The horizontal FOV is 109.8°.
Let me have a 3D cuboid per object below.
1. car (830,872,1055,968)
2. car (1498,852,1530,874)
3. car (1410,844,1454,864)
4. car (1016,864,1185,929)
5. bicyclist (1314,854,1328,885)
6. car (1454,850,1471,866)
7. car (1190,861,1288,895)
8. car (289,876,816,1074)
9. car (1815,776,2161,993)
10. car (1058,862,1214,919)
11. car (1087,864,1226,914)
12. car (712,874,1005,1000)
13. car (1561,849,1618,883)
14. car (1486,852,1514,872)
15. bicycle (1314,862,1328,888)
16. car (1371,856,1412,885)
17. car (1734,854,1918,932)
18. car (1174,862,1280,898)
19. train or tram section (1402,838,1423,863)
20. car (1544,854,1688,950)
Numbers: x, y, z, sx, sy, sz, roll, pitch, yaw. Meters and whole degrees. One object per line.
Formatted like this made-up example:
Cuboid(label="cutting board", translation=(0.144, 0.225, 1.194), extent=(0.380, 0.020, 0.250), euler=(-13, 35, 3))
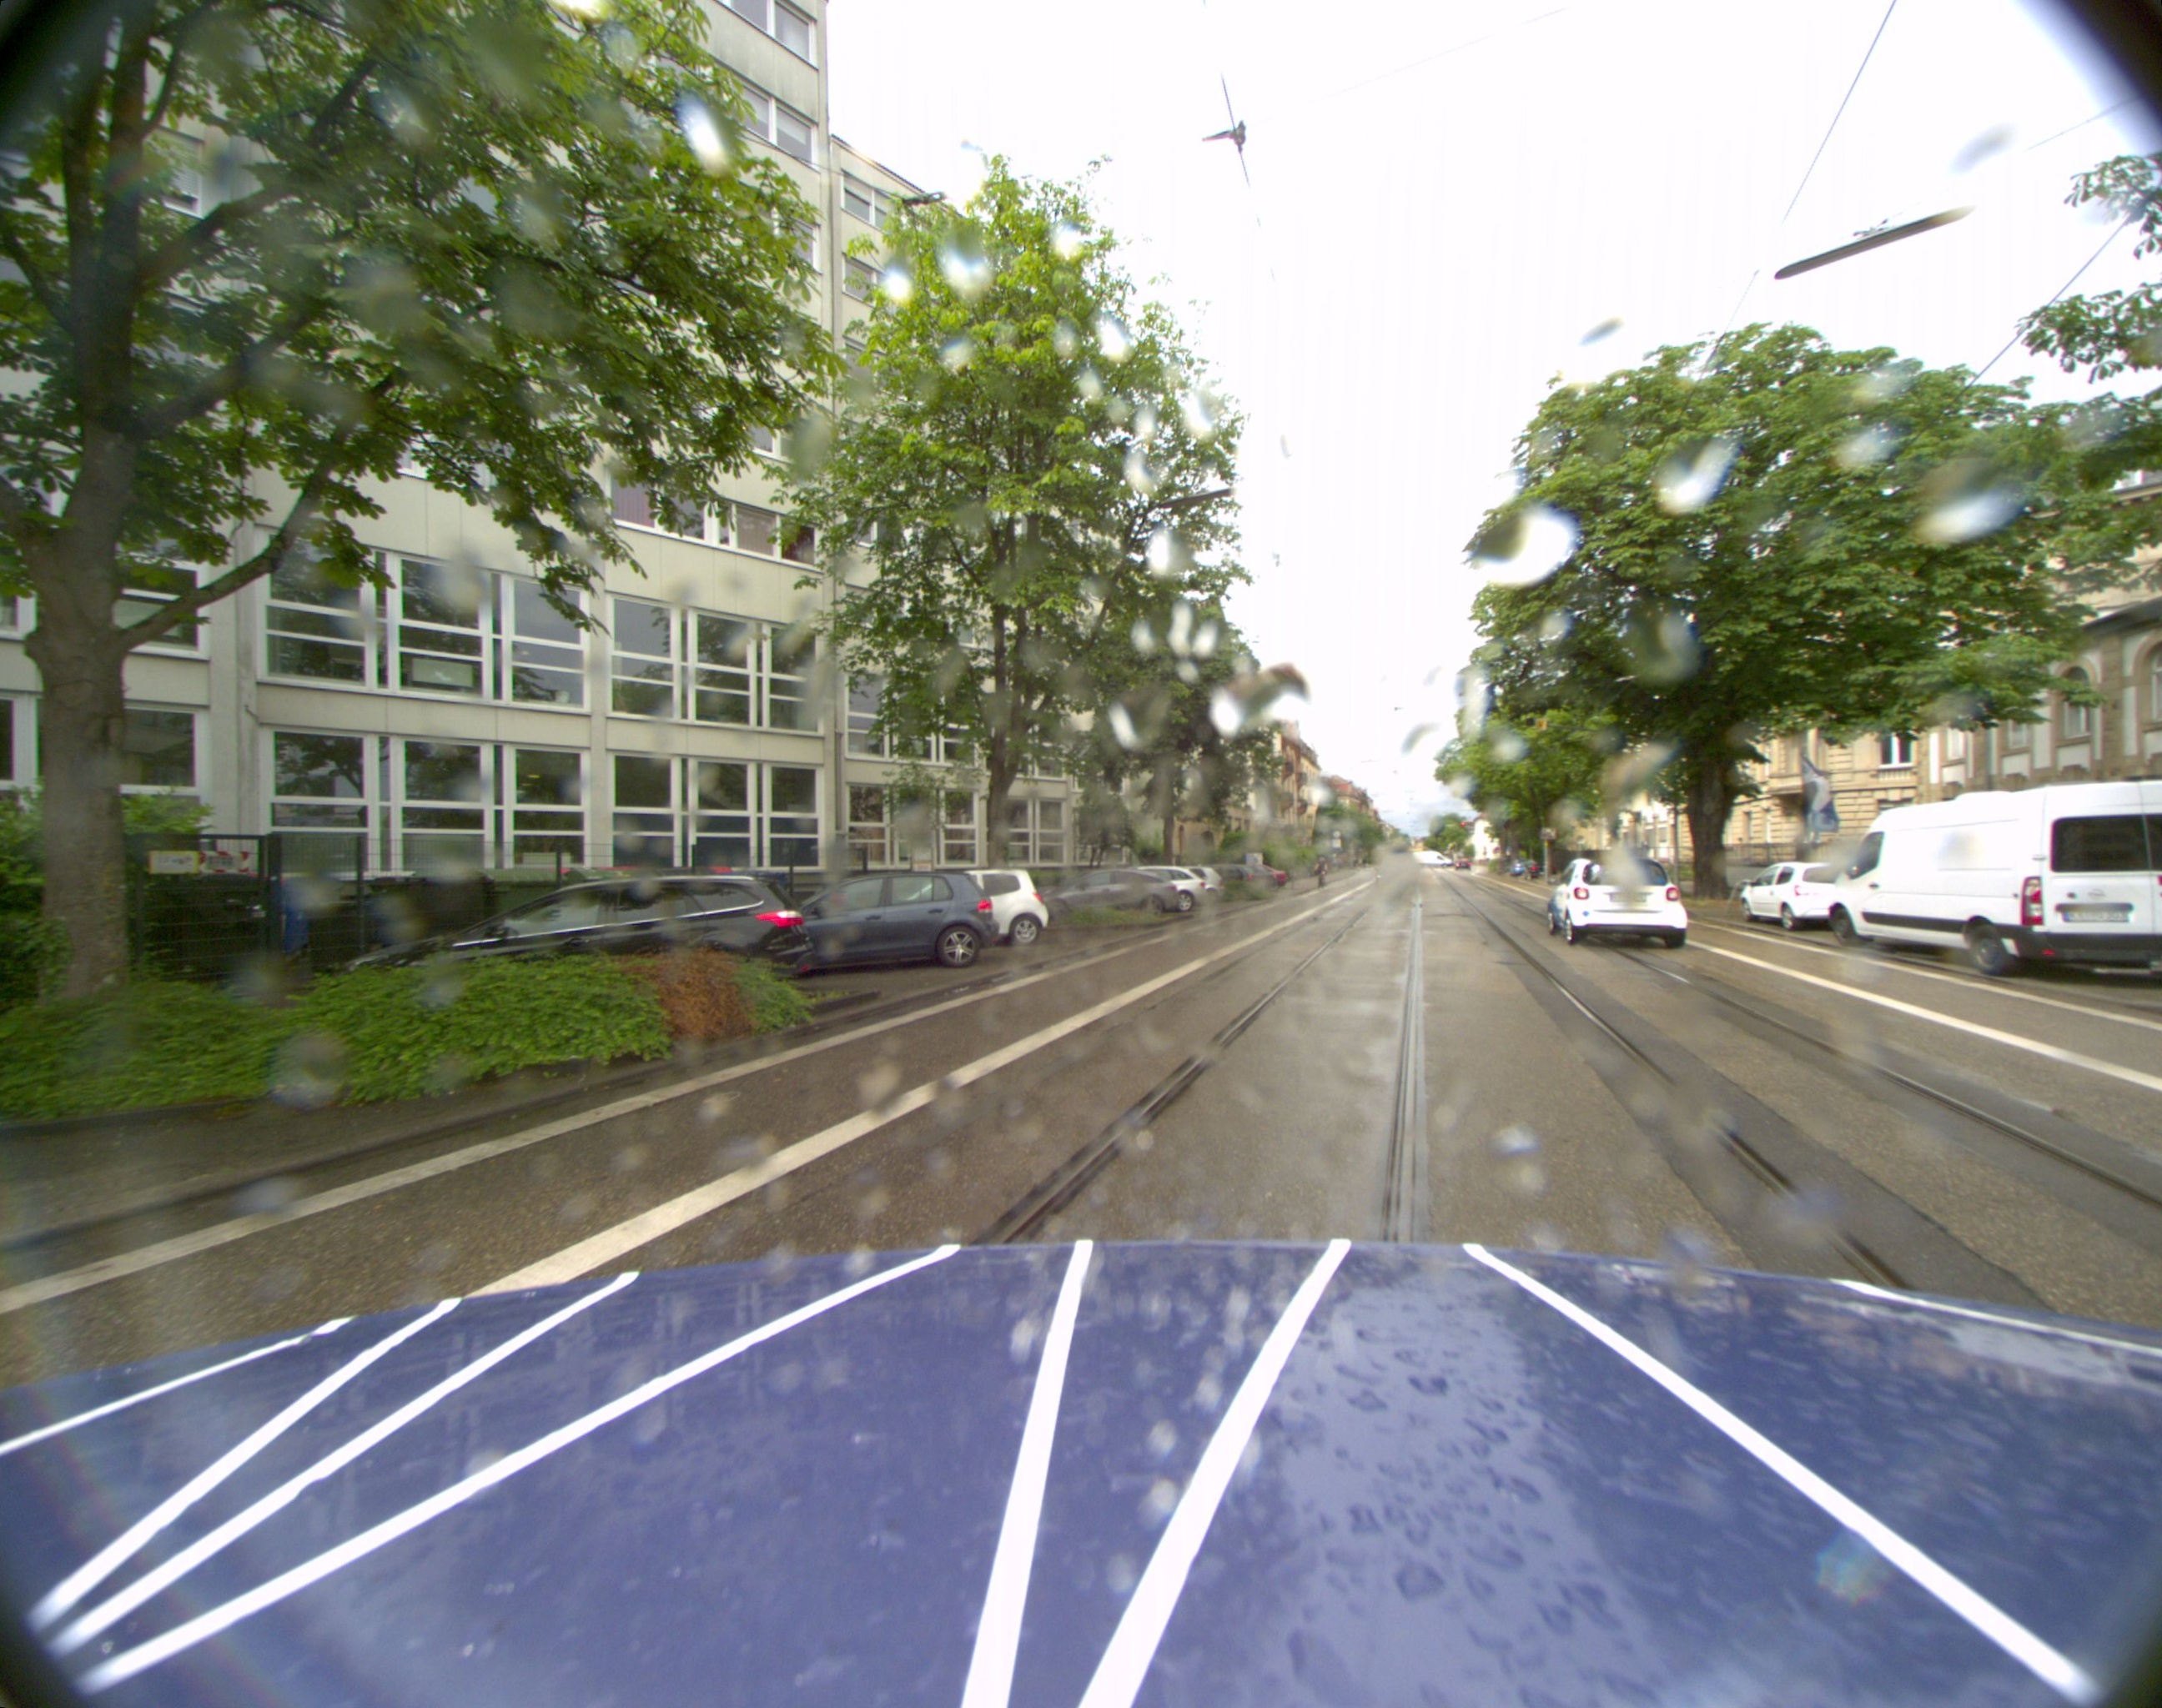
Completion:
Cuboid(label="car", translation=(-2.653, 1.164, 14.450), extent=(3.885, 1.445, 1.775), euler=(-3, 0, -21))
Cuboid(label="car", translation=(35.754, 0.712, 62.819), extent=(1.754, 1.666, 4.124), euler=(-2, 0, 23))
Cuboid(label="car", translation=(53.798, 0.026, 116.416), extent=(5.708, 2.814, 2.760), euler=(-2, 0, 30))
Cuboid(label="car", translation=(0.521, 1.097, 20.761), extent=(4.210, 1.444, 1.811), euler=(-3, 0, -20))
Cuboid(label="bicyclist", translation=(12.802, 0.820, 40.493), extent=(0.644, 1.608, 0.675), euler=(-2, 1, 19))
Cuboid(label="car", translation=(49.642, 0.501, 98.821), extent=(1.843, 1.875, 3.931), euler=(-2, 0, 29))
Cuboid(label="car", translation=(8.010, 1.198, 38.631), extent=(4.442, 1.444, 1.904), euler=(-3, 0, -13))
Cuboid(label="car", translation=(-5.354, 1.137, 8.475), extent=(4.375, 1.545, 1.875), euler=(-3, -1, -22))
Cuboid(label="car", translation=(13.521, 0.357, 11.175), extent=(2.135, 2.495, 5.282), euler=(-3, -1, 24))
Cuboid(label="car", translation=(1.705, 1.087, 23.691), extent=(4.398, 1.444, 1.882), euler=(-3, 0, -20))
Cuboid(label="car", translation=(2.623, 1.169, 26.557), extent=(4.375, 1.444, 1.903), euler=(-3, 0, -20))
Cuboid(label="car", translation=(-3.307, 1.131, 11.499), extent=(3.885, 1.445, 1.820), euler=(-3, 0, -21))
Cuboid(label="car", translation=(24.892, 0.565, 37.329), extent=(1.791, 1.489, 4.037), euler=(-2, 0, 27))
Cuboid(label="car", translation=(39.776, 0.771, 72.137), extent=(1.862, 1.742, 4.124), euler=(-2, 0, 23))
Cuboid(label="bicycle", translation=(12.817, 1.114, 40.522), extent=(0.644, 1.258, 1.871), euler=(-2, 0, 19))
Cuboid(label="car", translation=(17.487, 0.903, 42.787), extent=(1.995, 1.472, 4.771), euler=(-2, 0, 22))
Cuboid(label="car", translation=(16.351, 0.822, 16.916), extent=(1.909, 1.541, 3.377), euler=(-2, -1, 26))
Cuboid(label="car", translation=(6.815, 1.176, 35.681), extent=(4.442, 1.444, 1.904), euler=(-3, 0, -13))
Cuboid(label="train or tram section", translation=(55.473, -0.608, 127.099), extent=(3.016, 3.850, 9.588), euler=(-2, 0, 24))
Cuboid(label="car", translation=(9.504, 0.803, 13.697), extent=(1.611, 1.506, 2.611), euler=(-2, 0, 24))
